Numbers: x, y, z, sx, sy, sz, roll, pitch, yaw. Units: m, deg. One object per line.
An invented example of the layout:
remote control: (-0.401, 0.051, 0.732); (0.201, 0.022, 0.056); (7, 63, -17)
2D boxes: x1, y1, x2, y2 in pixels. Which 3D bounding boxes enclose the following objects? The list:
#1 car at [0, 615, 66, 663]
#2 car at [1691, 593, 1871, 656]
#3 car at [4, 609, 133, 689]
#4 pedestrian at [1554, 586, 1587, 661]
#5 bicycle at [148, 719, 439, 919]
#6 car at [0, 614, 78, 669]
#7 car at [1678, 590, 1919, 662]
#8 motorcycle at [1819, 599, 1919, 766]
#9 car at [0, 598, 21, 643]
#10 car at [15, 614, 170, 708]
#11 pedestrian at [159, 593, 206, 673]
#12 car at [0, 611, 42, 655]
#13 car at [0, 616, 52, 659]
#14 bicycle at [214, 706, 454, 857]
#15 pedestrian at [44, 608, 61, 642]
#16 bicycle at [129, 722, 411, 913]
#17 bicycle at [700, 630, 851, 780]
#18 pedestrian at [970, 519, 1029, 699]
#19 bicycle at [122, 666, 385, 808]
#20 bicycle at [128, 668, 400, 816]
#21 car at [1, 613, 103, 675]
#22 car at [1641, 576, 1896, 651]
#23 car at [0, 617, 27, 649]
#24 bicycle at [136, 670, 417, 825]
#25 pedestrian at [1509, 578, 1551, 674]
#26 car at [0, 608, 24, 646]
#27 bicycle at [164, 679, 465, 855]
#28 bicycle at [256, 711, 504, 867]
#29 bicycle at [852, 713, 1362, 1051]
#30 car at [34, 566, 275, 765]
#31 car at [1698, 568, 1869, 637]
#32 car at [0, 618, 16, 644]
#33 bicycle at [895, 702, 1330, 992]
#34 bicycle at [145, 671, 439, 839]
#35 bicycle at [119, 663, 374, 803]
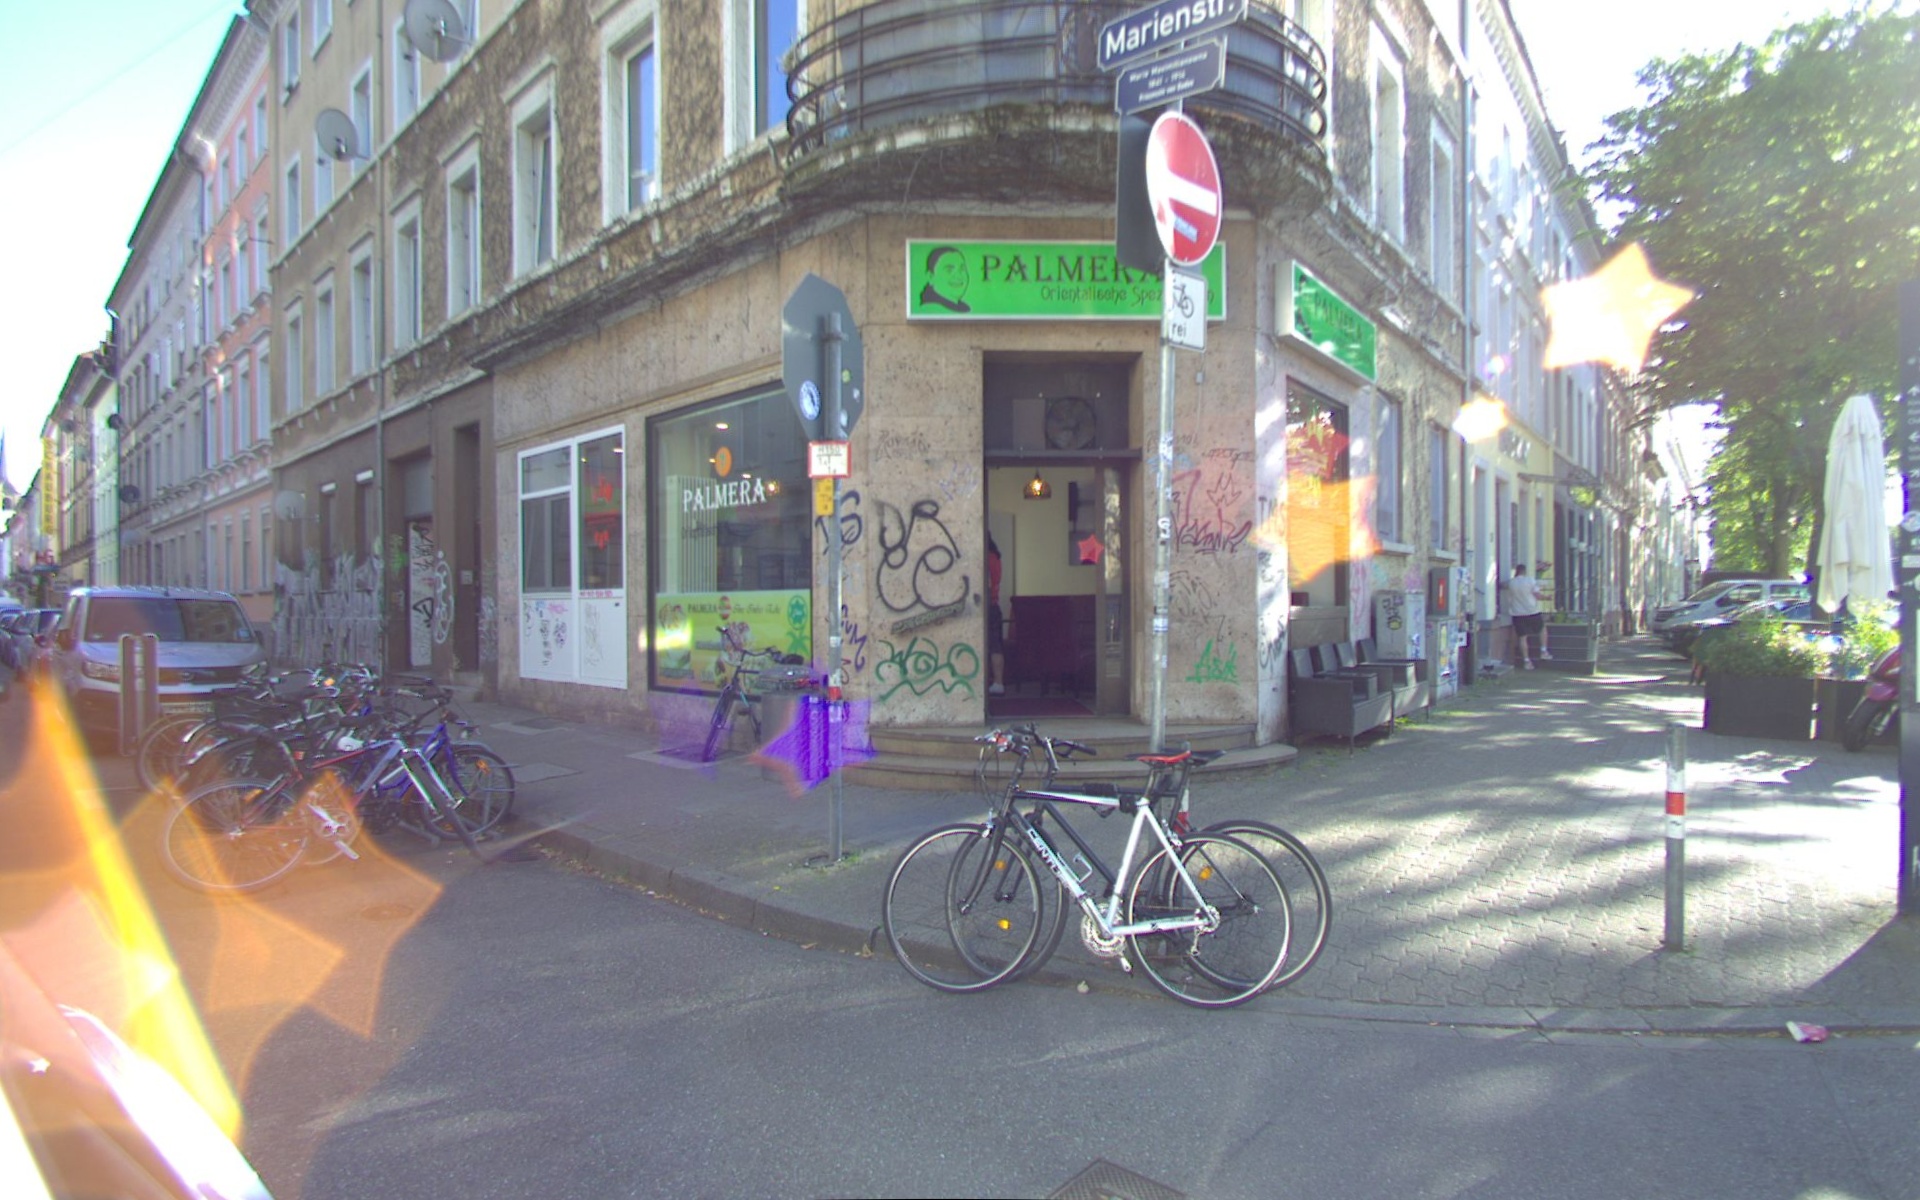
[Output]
car: (-30.638, 1.254, 33.370); (1.658, 1.474, 3.866); (0, -1, -41)
car: (21.860, 0.644, 27.082); (3.292, 1.514, 1.682); (-1, 2, 14)
car: (-18.898, 0.992, 21.424); (2.958, 1.561, 1.661); (-1, -2, 41)
pedestrian: (13.570, 0.518, 22.491); (0.538, 1.655, 0.563); (-2, -1, 35)
bicycle: (-3.596, 1.137, 5.551); (0.370, 0.824, 1.297); (-1, -1, 35)
car: (-27.207, 1.172, 29.746); (1.660, 1.474, 4.315); (0, -1, -45)
car: (18.924, 0.564, 22.394); (4.602, 1.502, 1.680); (-1, -1, 16)
motorcycle: (9.021, 0.713, 8.631); (2.393, 1.361, 0.998); (1, -1, 8)
car: (-58.158, 1.212, 60.967); (5.845, 2.611, 2.065); (-1, -1, 44)
car: (-15.662, 1.025, 18.197); (4.204, 1.485, 1.660); (-1, -3, 44)
pedestrian: (-18.441, 0.775, 24.008); (0.595, 1.844, 0.779); (-1, 1, 45)
car: (-37.925, 1.294, 40.471); (1.660, 1.696, 3.862); (0, -1, -45)
car: (-34.556, 1.355, 37.122); (1.660, 1.474, 3.862); (0, -1, -45)
bicycle: (-4.098, 1.154, 6.708); (0.381, 0.824, 1.297); (-1, -3, 35)
pedestrian: (-50.395, 1.374, 56.208); (0.617, 1.844, 0.595); (-2, 1, -44)
bicycle: (-3.893, 1.187, 5.796); (0.354, 0.824, 1.297); (-1, -1, 35)
bicycle: (-1.555, 0.814, 8.348); (1.592, 1.100, 0.393); (0, -1, 45)
pedestrian: (0.393, 0.087, 10.036); (0.429, 1.729, 0.404); (-1, 0, 27)
bicycle: (-5.797, 1.080, 8.389); (0.405, 0.969, 1.745); (-1, -1, 43)
bicycle: (-5.500, 1.074, 8.089); (0.422, 0.969, 1.745); (-1, -1, 43)
car: (-23.746, 1.107, 26.436); (3.611, 1.504, 1.661); (-1, -1, 43)
car: (23.140, 0.409, 29.224); (5.297, 2.006, 2.029); (-1, 0, 15)
car: (-45.518, 1.549, 48.065); (1.660, 1.426, 3.862); (0, -1, -45)
bicycle: (-5.203, 1.075, 7.804); (0.443, 0.969, 1.745); (-1, -1, 43)
pedestrian: (10.028, 0.454, 17.810); (0.538, 1.655, 0.563); (-2, -1, 35)
car: (-50.148, 1.393, 52.952); (1.727, 1.906, 4.776); (0, -1, -43)
bicycle: (-4.439, 1.097, 7.090); (0.427, 0.969, 1.748); (-1, -1, 37)
bicycle: (-3.750, 1.190, 6.647); (0.361, 0.824, 1.374); (-1, -3, 35)
bicycle: (0.493, 0.992, 3.662); (1.666, 1.053, 0.457); (-3, -1, 5)
car: (-9.642, 0.698, 11.970); (1.660, 1.924, 4.522); (4, -4, -45)
car: (33.672, 0.074, 41.632); (5.186, 2.597, 2.219); (2, 1, 35)
car: (-53.970, 1.734, 56.586); (1.660, 1.400, 3.862); (0, -1, -45)
bicycle: (0.587, 0.975, 4.126); (1.643, 1.054, 0.450); (-1, -1, 5)
bicycle: (-4.776, 1.055, 7.366); (0.480, 0.969, 1.751); (-1, -1, 32)
bicycle: (-6.088, 1.090, 8.719); (0.463, 0.996, 1.745); (-1, -1, 44)
